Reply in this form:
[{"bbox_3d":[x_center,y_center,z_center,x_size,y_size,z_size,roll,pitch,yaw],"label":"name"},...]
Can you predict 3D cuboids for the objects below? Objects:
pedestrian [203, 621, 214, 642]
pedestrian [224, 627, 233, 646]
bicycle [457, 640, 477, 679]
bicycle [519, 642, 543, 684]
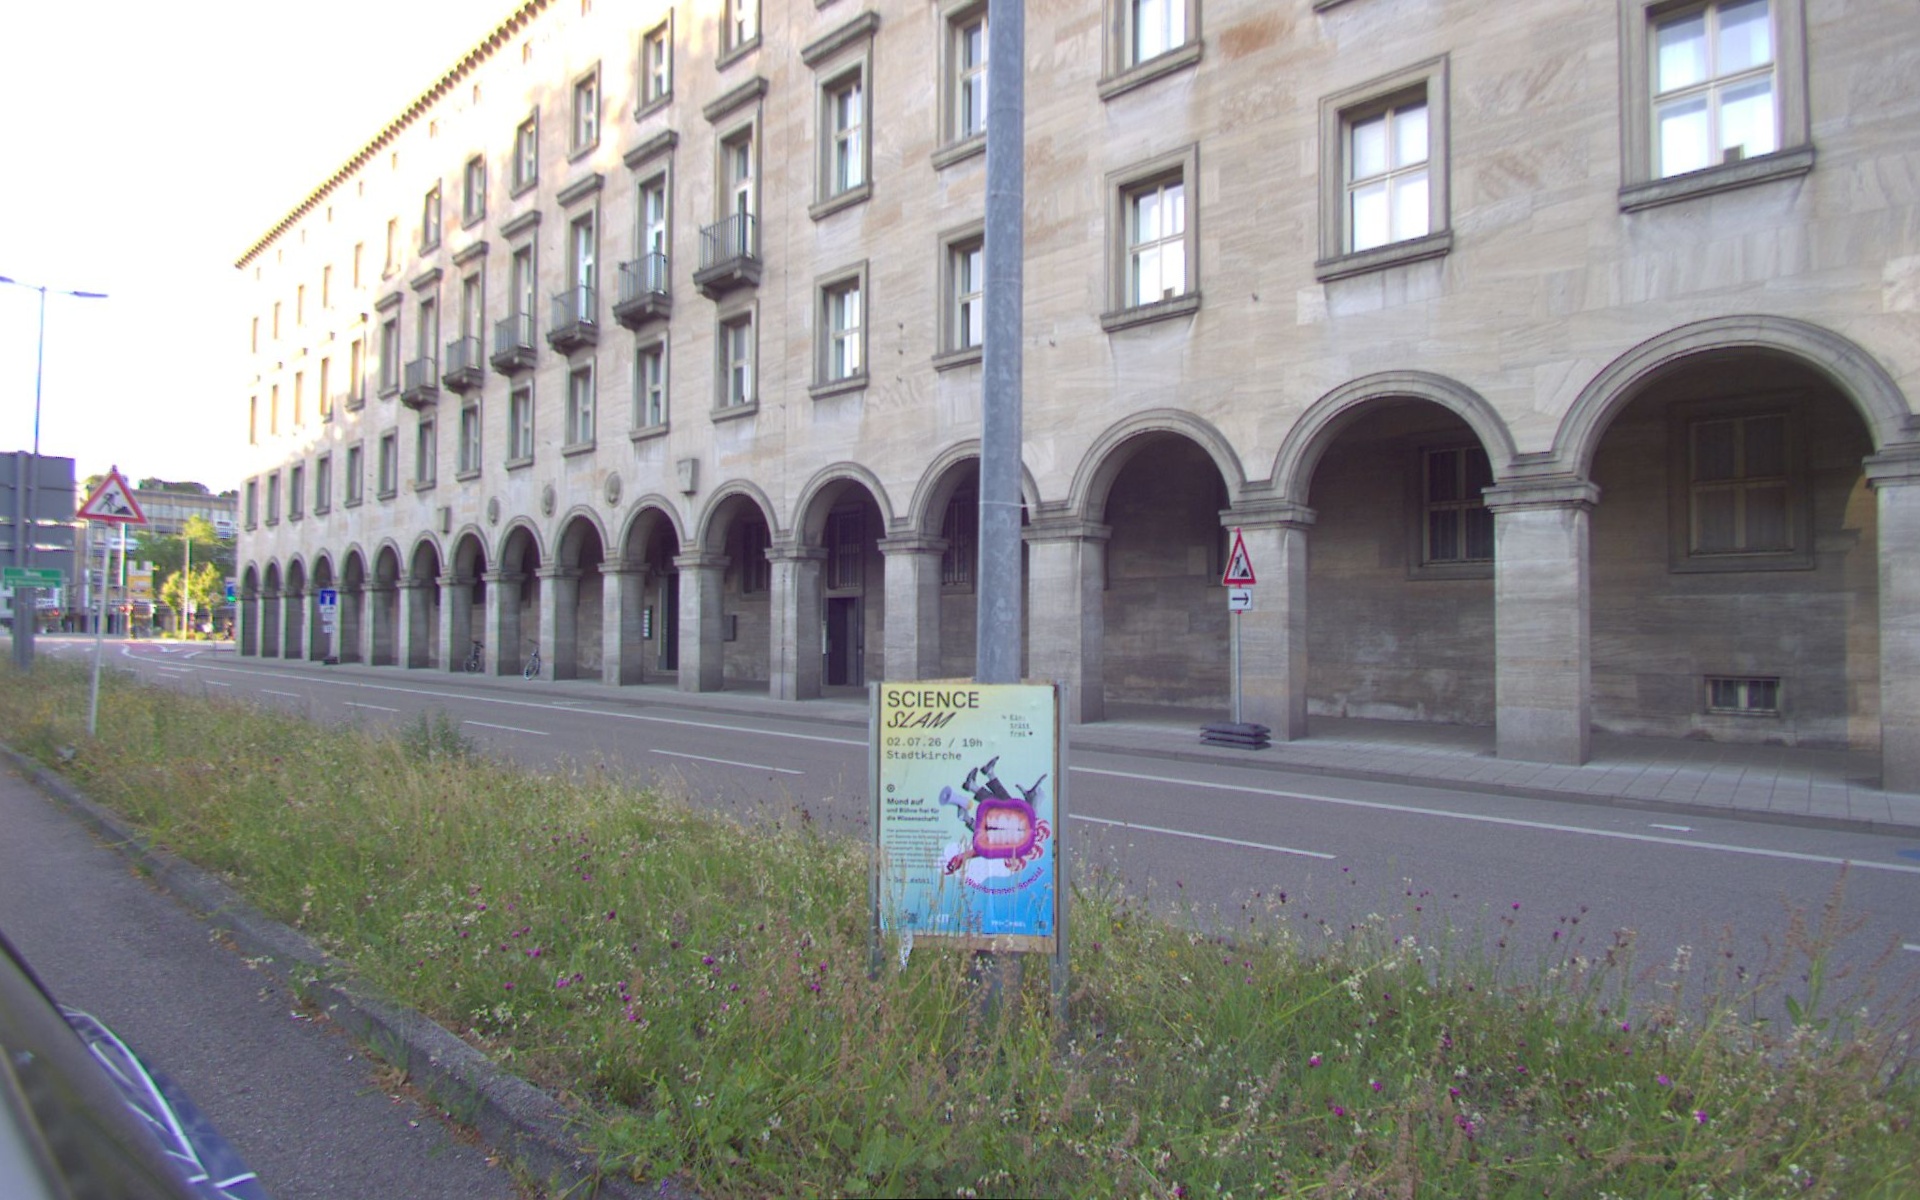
[{"bbox_3d":[-63.107,2.639,84.968,0.506,1.771,0.630,-2,-3,41],"label":"pedestrian"},{"bbox_3d":[-62.078,3.101,85.837,0.389,1.553,0.519,-2,-3,41],"label":"pedestrian"},{"bbox_3d":[-16.146,1.929,33.180,0.505,1.188,2.431,1,-2,-25],"label":"bicycle"},{"bbox_3d":[-12.742,1.851,30.098,0.505,1.130,2.431,1,-1,-20],"label":"bicycle"}]
